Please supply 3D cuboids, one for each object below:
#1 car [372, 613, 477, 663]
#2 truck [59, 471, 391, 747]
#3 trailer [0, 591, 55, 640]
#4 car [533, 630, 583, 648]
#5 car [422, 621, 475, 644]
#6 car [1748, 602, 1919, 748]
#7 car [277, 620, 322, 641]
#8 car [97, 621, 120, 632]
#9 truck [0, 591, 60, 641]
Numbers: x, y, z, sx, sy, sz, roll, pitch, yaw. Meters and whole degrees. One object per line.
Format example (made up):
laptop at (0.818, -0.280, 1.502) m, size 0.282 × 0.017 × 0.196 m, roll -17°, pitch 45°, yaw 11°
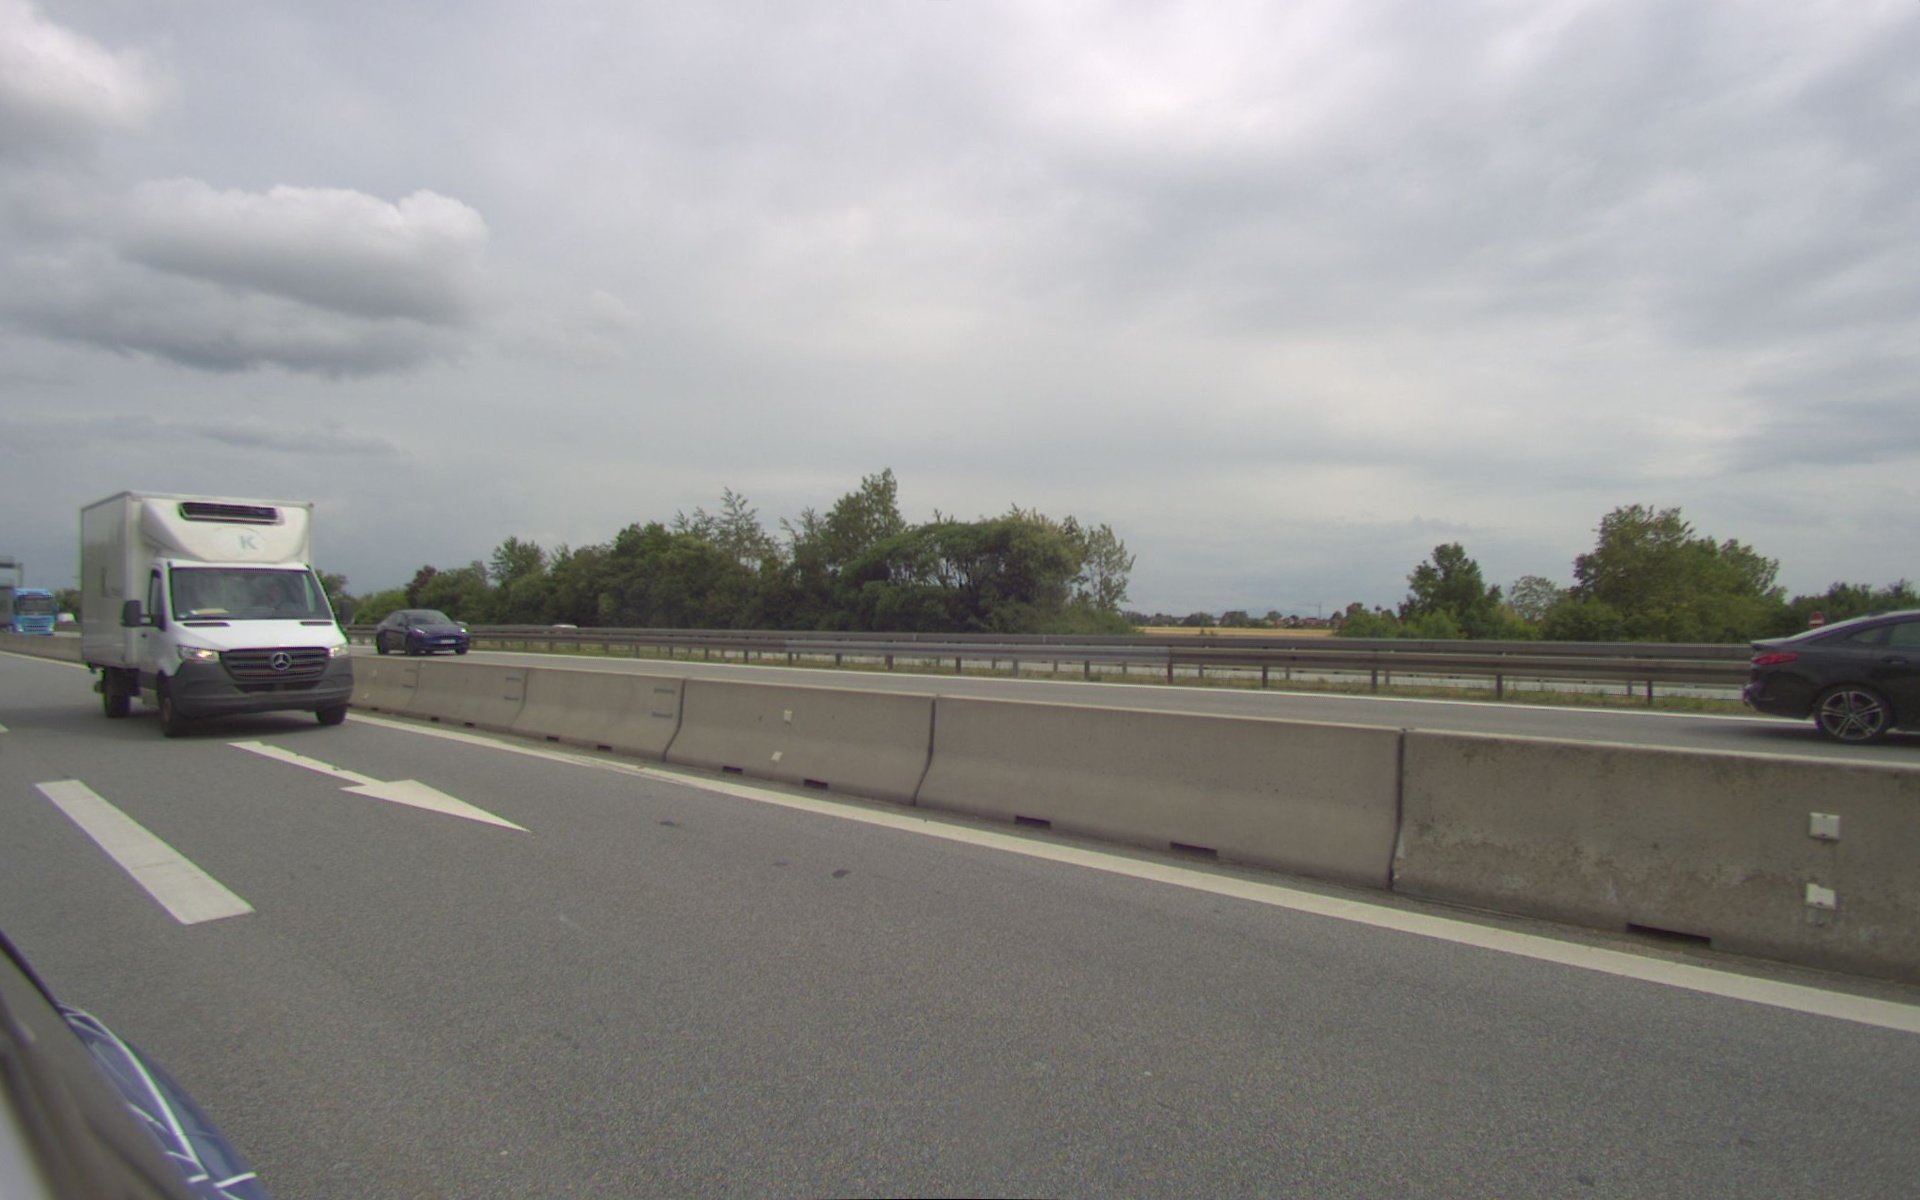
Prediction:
car at (-19.373, 1.326, 36.560) m, size 4.382 × 1.674 × 1.972 m, roll -1°, pitch -1°, yaw 42°
truck at (-10.649, 0.154, 14.408) m, size 6.365 × 3.113 × 2.380 m, roll -1°, pitch -1°, yaw 40°
trailer at (-81.171, 1.324, 87.306) m, size 12.375 × 3.954 × 3.202 m, roll -1°, pitch 0°, yaw 42°
car at (-28.862, 2.805, 72.542) m, size 4.001 × 1.201 × 1.670 m, roll -1°, pitch -1°, yaw 40°
car at (-33.778, 2.119, 66.802) m, size 4.001 × 1.480 × 1.670 m, roll -1°, pitch -1°, yaw 40°
car at (10.850, 0.745, 10.294) m, size 4.382 × 1.461 × 1.754 m, roll -1°, pitch -1°, yaw 41°
car at (-48.209, 2.231, 73.877) m, size 4.001 × 1.480 × 1.670 m, roll -1°, pitch -1°, yaw 40°
car at (-119.669, 3.747, 142.178) m, size 3.715 × 1.531 × 1.716 m, roll -1°, pitch -1°, yaw 38°
truck at (-76.750, 1.276, 83.324) m, size 6.608 × 3.941 × 3.212 m, roll -1°, pitch -1°, yaw 42°
